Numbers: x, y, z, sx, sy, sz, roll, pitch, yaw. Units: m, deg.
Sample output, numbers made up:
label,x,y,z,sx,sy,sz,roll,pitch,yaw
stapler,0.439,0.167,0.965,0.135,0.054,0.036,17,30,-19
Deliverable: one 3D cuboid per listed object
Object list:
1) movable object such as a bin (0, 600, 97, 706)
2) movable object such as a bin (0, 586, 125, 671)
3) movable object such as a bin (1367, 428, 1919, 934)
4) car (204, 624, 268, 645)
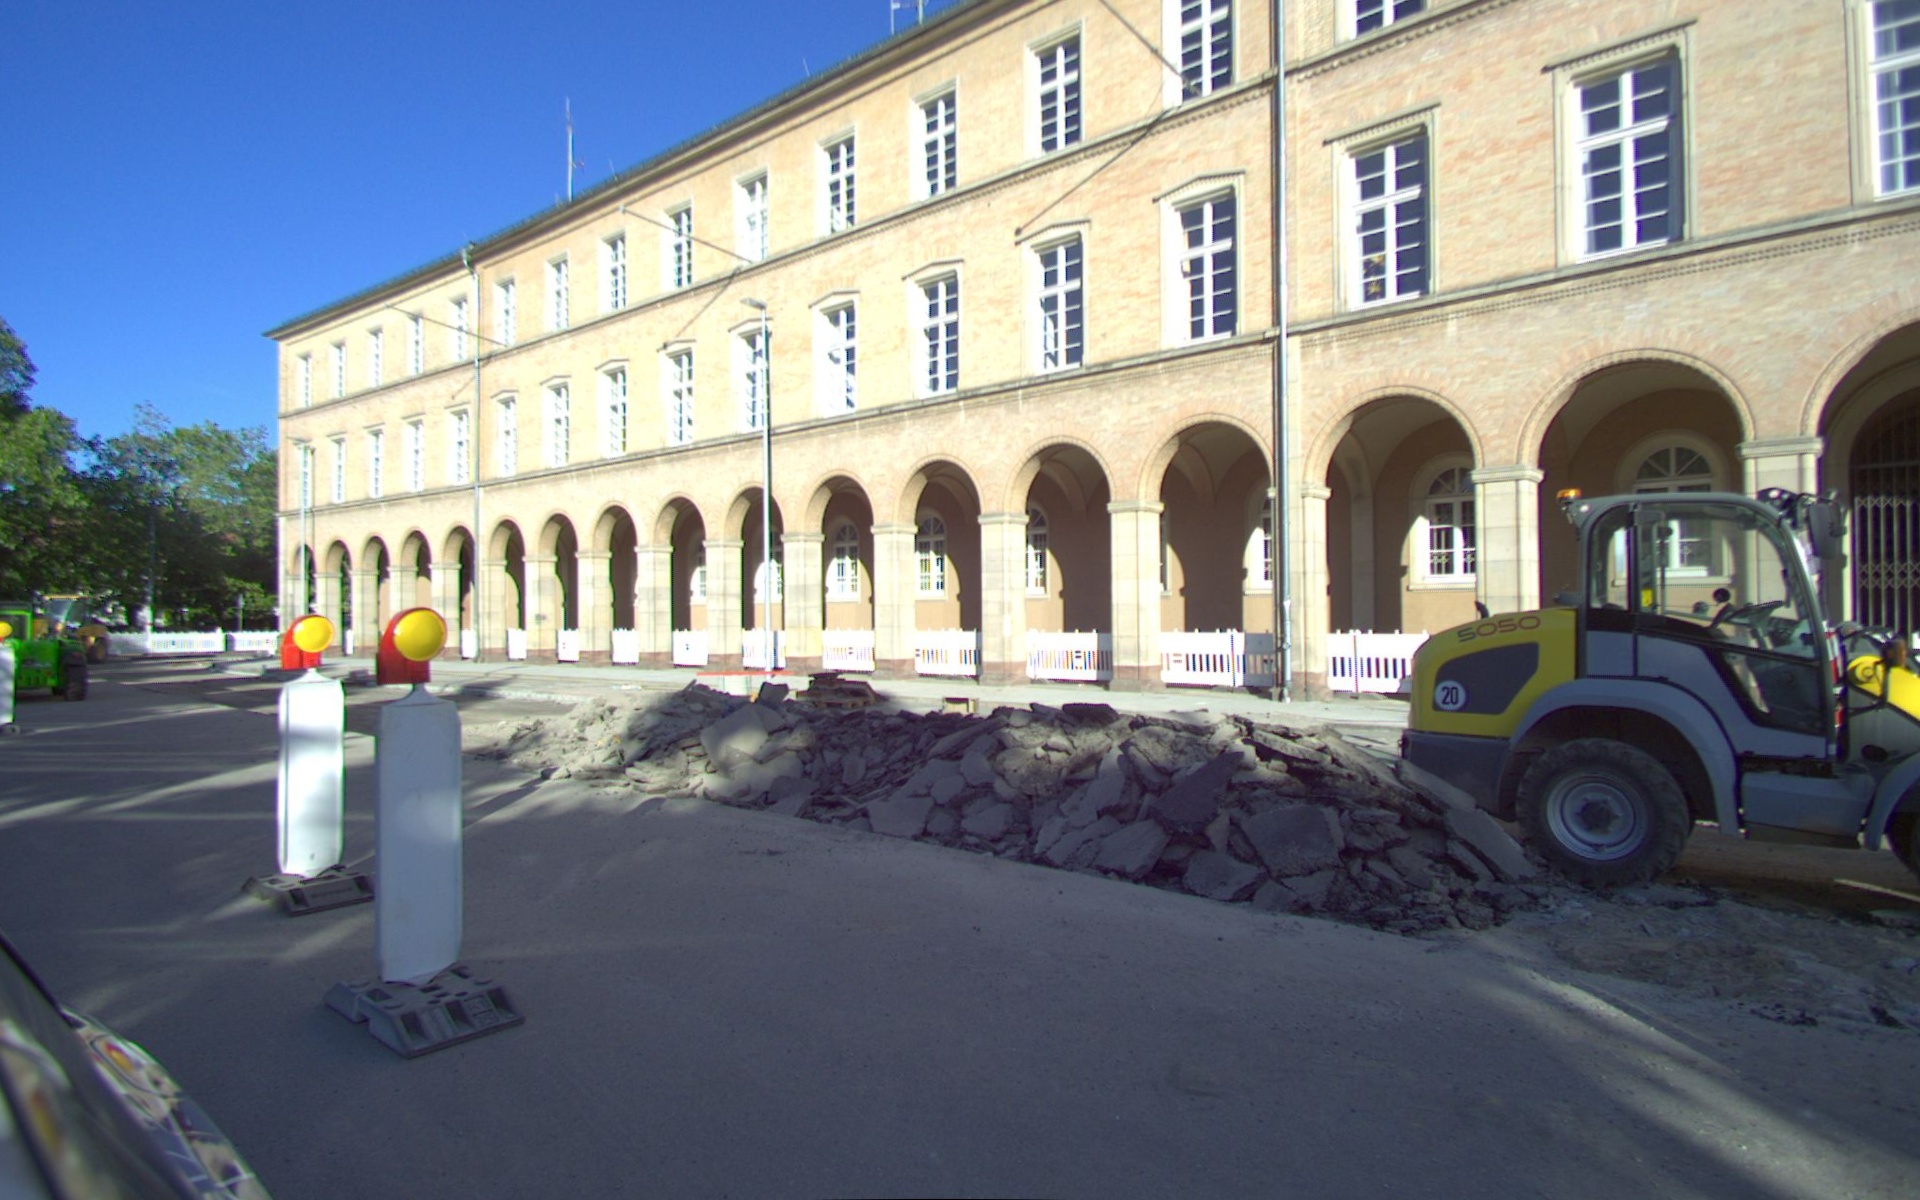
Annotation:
label,x,y,z,sx,sy,sz,roll,pitch,yaw
movable object such as a bin,-19.094,1.067,20.530,4.335,1.964,2.027,-3,-3,44
movable object such as a bin,-35.513,1.089,39.315,2.523,3.054,5.948,1,-1,-15
movable object such as a bin,5.155,0.424,6.004,4.613,2.494,2.053,-3,-3,41
car,-59.142,2.853,82.719,1.547,1.639,3.958,-3,-3,31
